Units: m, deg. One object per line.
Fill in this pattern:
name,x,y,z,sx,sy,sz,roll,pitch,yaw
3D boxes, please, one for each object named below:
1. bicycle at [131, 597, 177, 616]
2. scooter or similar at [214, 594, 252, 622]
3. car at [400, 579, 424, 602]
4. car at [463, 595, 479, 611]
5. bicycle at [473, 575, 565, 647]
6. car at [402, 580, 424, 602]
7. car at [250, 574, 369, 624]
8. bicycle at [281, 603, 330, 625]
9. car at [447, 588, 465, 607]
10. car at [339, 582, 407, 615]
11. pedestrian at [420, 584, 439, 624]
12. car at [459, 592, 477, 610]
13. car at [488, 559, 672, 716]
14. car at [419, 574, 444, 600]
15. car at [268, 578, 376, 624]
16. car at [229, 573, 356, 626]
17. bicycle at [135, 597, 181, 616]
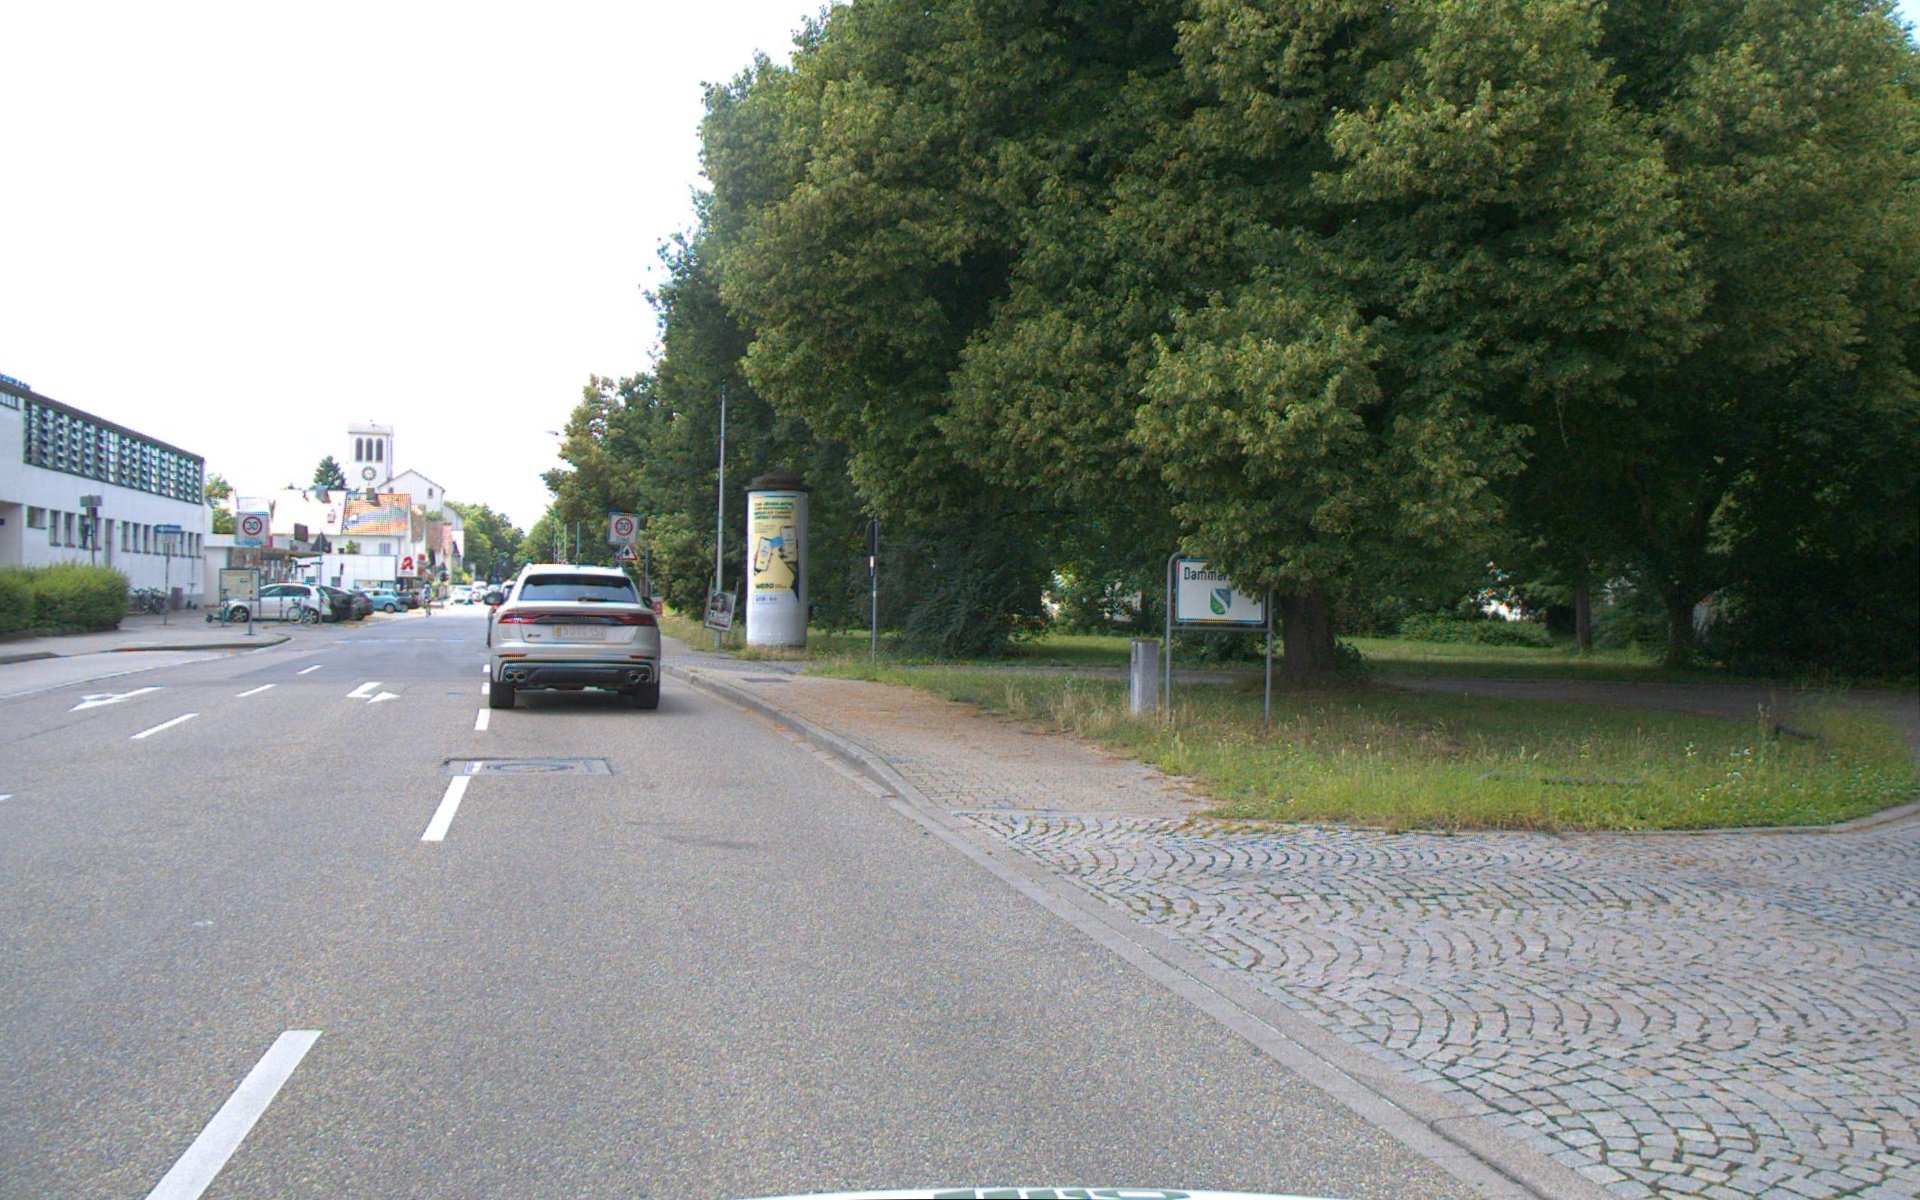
bicycle,-34.326,0.262,70.464,1.660,0.771,0.562,2,-1,-42
scooter or similar,-27.071,0.314,61.581,1.962,1.013,0.620,-1,-1,45
car,-48.669,-0.865,146.959,1.963,2.049,3.980,0,0,-18
car,-59.446,0.413,201.170,1.755,1.887,3.980,0,0,-18
bicycle,-11.132,0.254,41.582,1.963,1.704,4.186,0,0,-19
car,-52.973,-0.873,160.281,1.963,2.049,3.980,0,0,-18
car,-27.243,-0.013,69.466,4.564,2.049,1.988,0,-1,-21
bicycle,-24.467,0.527,61.838,1.645,0.771,0.567,2,-1,-21
car,-52.117,-0.285,170.989,1.755,1.887,3.980,0,0,-18
car,-36.483,-0.103,102.772,3.930,2.049,1.988,0,0,-21
pedestrian,-29.042,0.213,90.616,0.894,2.172,1.010,1,0,-14
car,-54.098,0.090,181.756,1.755,1.887,3.980,0,0,-18
car,-4.665,0.399,20.867,1.945,1.713,4.564,2,0,-10
car,-43.899,-1.091,137.458,1.963,2.049,3.980,0,0,-18
car,-29.318,0.069,76.139,4.564,2.049,1.988,0,-1,-21
car,-26.386,0.007,65.545,4.564,2.049,1.988,0,-1,-21
bicycle,-33.871,0.275,69.850,1.660,0.771,0.562,2,-1,-42
